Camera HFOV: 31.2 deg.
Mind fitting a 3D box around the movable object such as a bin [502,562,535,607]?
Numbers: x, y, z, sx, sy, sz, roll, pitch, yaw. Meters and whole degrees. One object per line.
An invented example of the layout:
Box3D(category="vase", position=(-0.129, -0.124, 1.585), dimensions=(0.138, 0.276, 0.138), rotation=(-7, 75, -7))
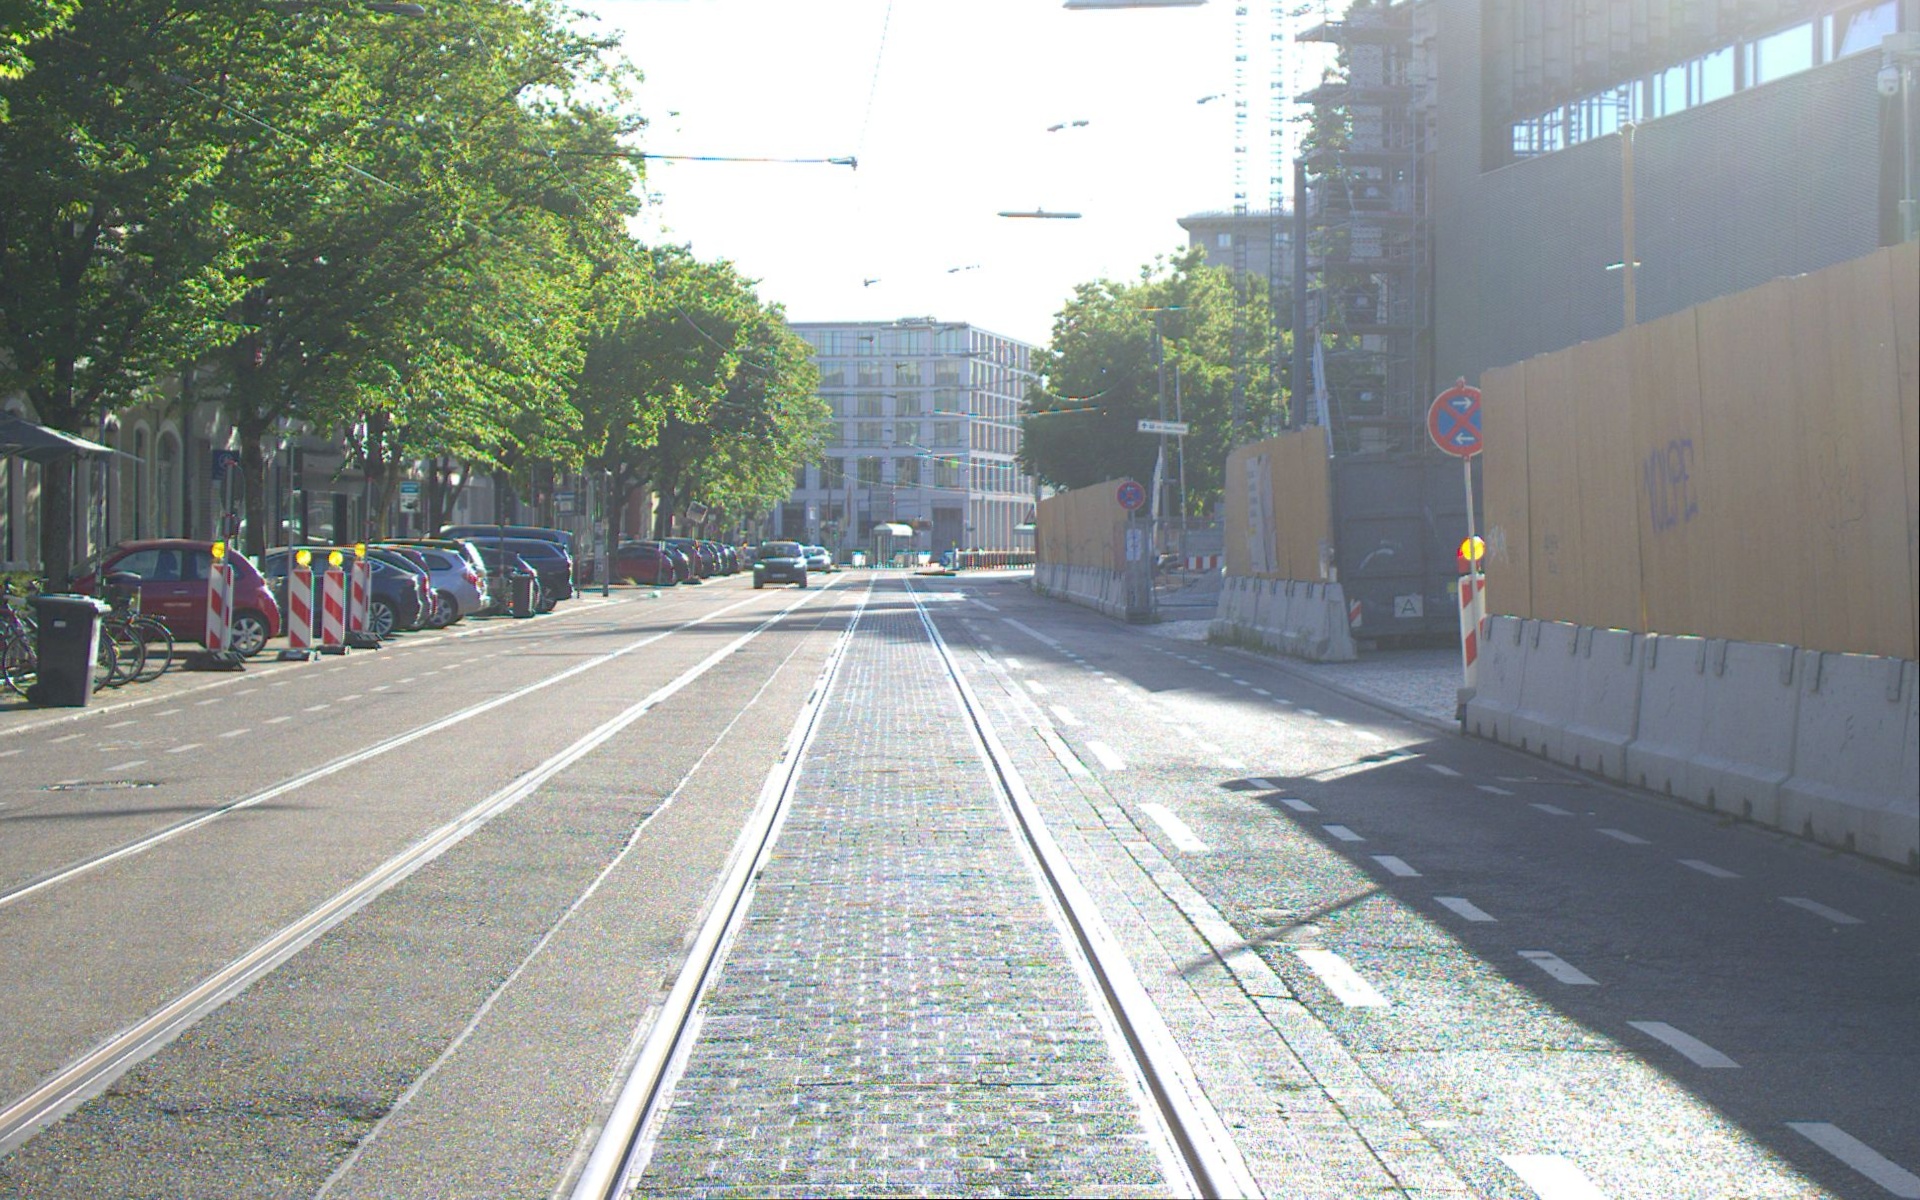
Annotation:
Box3D(category="movable object such as a bin", position=(-9.392, -0.329, 73.188), dimensions=(0.575, 0.910, 0.575), rotation=(2, 2, -17))

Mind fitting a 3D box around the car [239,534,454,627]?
Box3D(category="car", position=(-10.878, -0.340, 60.959), dimensions=(3.362, 1.488, 1.613), rotation=(2, 1, -29))

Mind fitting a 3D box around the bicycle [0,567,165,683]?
Box3D(category="bicycle", position=(-9.623, 0.257, 36.806), dimensions=(2.003, 1.084, 0.567), rotation=(5, 1, 2))

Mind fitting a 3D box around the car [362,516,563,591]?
Box3D(category="car", position=(-11.348, -1.064, 78.382), dimensions=(4.234, 1.679, 1.811), rotation=(0, 1, -22))

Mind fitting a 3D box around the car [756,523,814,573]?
Box3D(category="car", position=(-6.218, -1.862, 122.630), dimensions=(1.927, 1.624, 4.249), rotation=(-2, 2, -2))

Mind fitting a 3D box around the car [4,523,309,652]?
Box3D(category="car", position=(-10.708, -0.163, 45.840), dimensions=(3.612, 1.548, 1.669), rotation=(2, 2, -27))

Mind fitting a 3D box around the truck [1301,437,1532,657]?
Box3D(category="truck", position=(6.482, -0.766, 49.545), dimensions=(2.519, 2.899, 5.507), rotation=(-2, 1, 0))

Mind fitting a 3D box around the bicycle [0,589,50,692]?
Box3D(category="bicycle", position=(-9.804, 0.381, 33.797), dimensions=(1.599, 0.984, 0.389), rotation=(2, 1, -11))

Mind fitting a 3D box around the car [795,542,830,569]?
Box3D(category="car", position=(-7.804, -2.372, 182.367), dimensions=(1.709, 1.431, 4.171), rotation=(0, 1, 0))

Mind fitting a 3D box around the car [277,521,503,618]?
Box3D(category="car", position=(-11.125, -0.597, 67.317), dimensions=(4.103, 1.672, 1.841), rotation=(3, 1, -3))

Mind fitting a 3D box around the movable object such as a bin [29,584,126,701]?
Box3D(category="movable object such as a bin", position=(-8.521, 0.405, 33.216), dimensions=(0.683, 1.074, 0.710), rotation=(4, 1, 0))

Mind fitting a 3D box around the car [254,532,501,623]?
Box3D(category="car", position=(-10.813, -0.411, 63.860), dimensions=(4.103, 1.507, 1.841), rotation=(2, 1, -27))

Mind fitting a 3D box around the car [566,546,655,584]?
Box3D(category="car", position=(-12.536, -1.250, 123.305), dimensions=(2.933, 1.327, 1.216), rotation=(-1, 1, -28))

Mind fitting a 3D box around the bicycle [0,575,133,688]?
Box3D(category="bicycle", position=(-9.608, 0.309, 35.476), dimensions=(1.968, 1.075, 0.568), rotation=(3, 1, 2))

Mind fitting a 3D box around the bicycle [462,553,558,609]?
Box3D(category="bicycle", position=(-9.690, -0.412, 74.046), dimensions=(1.965, 1.140, 0.493), rotation=(2, 0, -19))
